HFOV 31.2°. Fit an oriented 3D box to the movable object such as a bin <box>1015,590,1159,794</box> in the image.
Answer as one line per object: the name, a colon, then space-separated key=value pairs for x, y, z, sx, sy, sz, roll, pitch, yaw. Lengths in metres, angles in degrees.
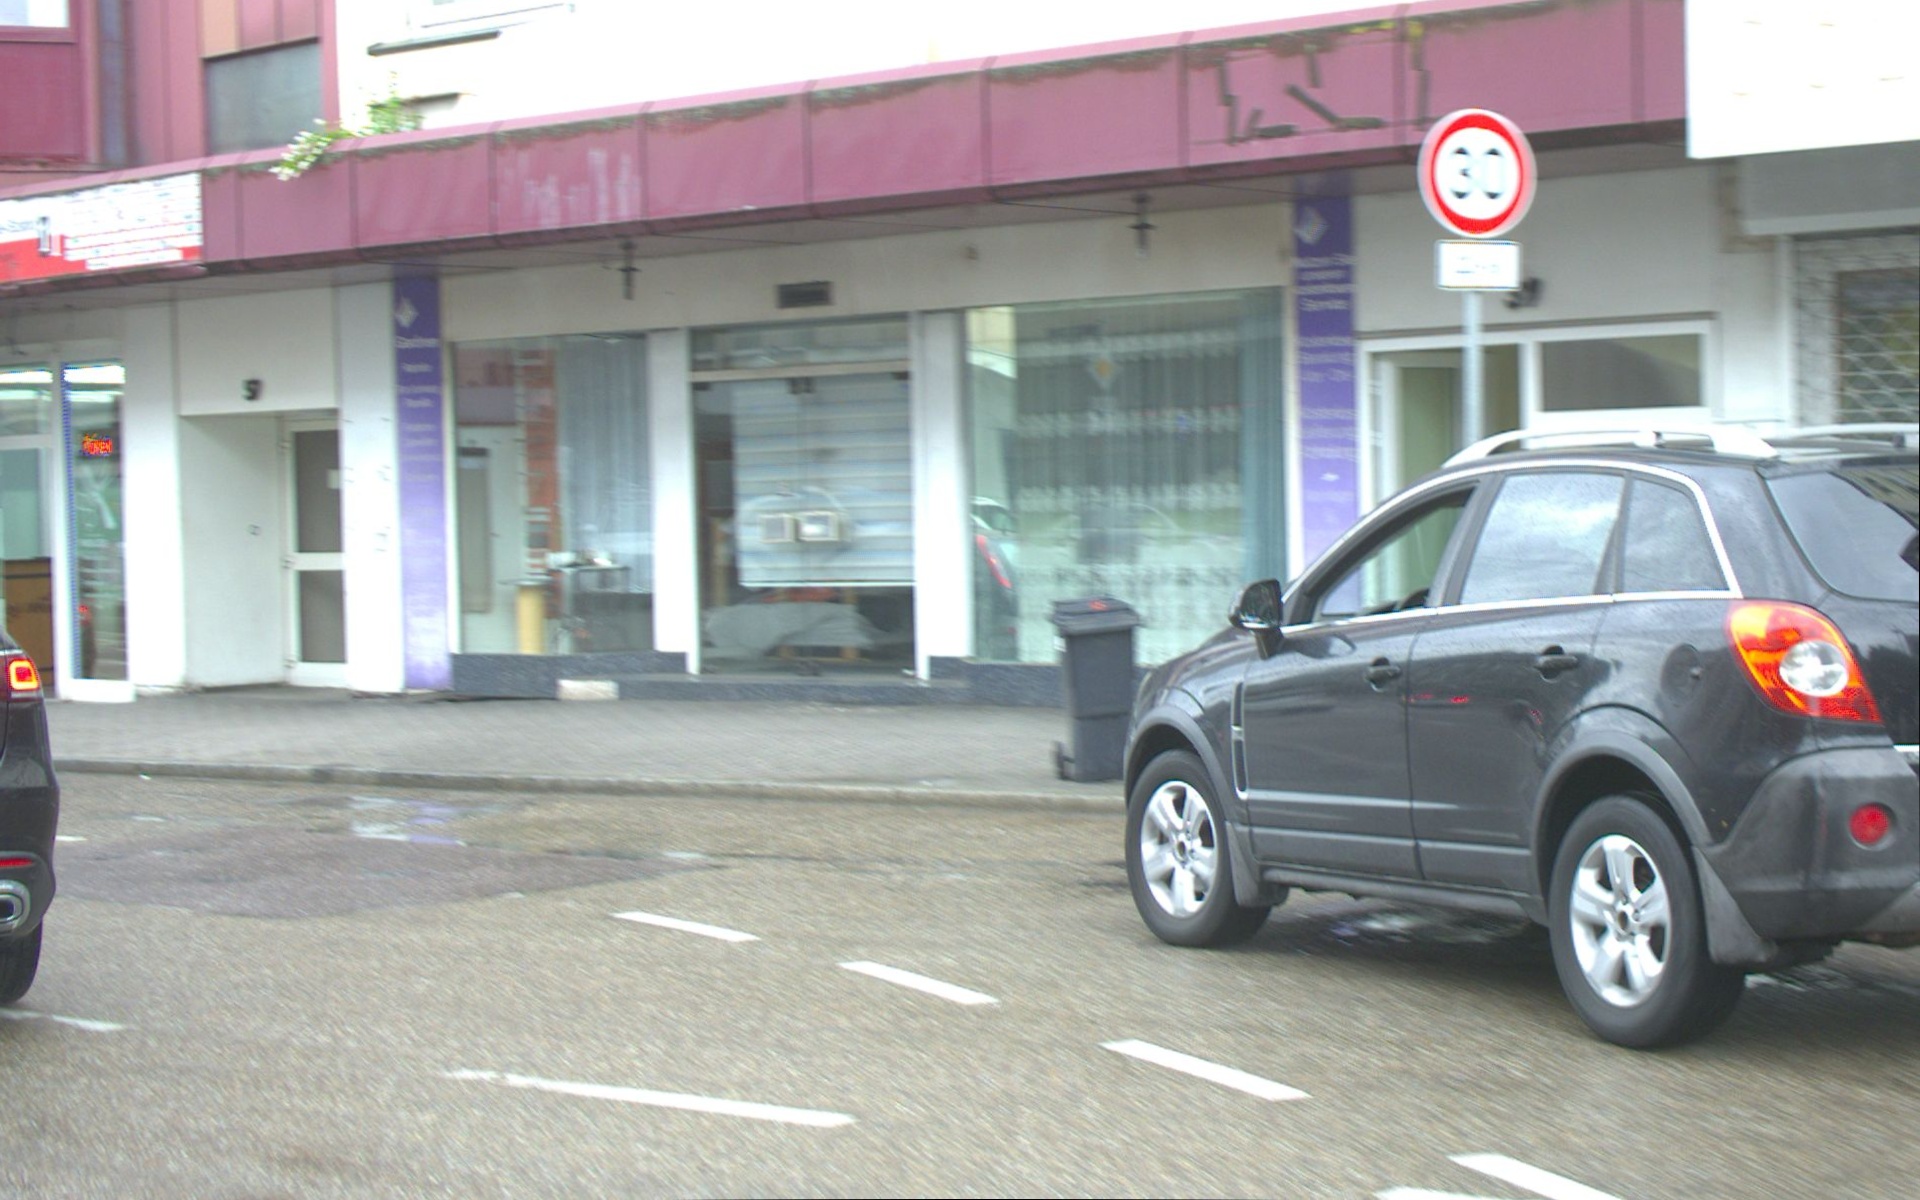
movable object such as a bin: x=0.659 y=0.471 z=17.926 sx=0.536 sy=0.947 sz=0.620 roll=-7 pitch=5 yaw=-10

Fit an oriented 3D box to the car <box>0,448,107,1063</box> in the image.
car: x=-4.591 y=0.453 z=11.699 sx=2.039 sy=1.792 sz=4.663 roll=-2 pitch=2 yaw=-30

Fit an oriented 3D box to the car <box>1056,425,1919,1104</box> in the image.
car: x=2.105 y=0.362 z=10.992 sx=1.897 sy=1.689 sz=4.506 roll=-1 pitch=1 yaw=-23
